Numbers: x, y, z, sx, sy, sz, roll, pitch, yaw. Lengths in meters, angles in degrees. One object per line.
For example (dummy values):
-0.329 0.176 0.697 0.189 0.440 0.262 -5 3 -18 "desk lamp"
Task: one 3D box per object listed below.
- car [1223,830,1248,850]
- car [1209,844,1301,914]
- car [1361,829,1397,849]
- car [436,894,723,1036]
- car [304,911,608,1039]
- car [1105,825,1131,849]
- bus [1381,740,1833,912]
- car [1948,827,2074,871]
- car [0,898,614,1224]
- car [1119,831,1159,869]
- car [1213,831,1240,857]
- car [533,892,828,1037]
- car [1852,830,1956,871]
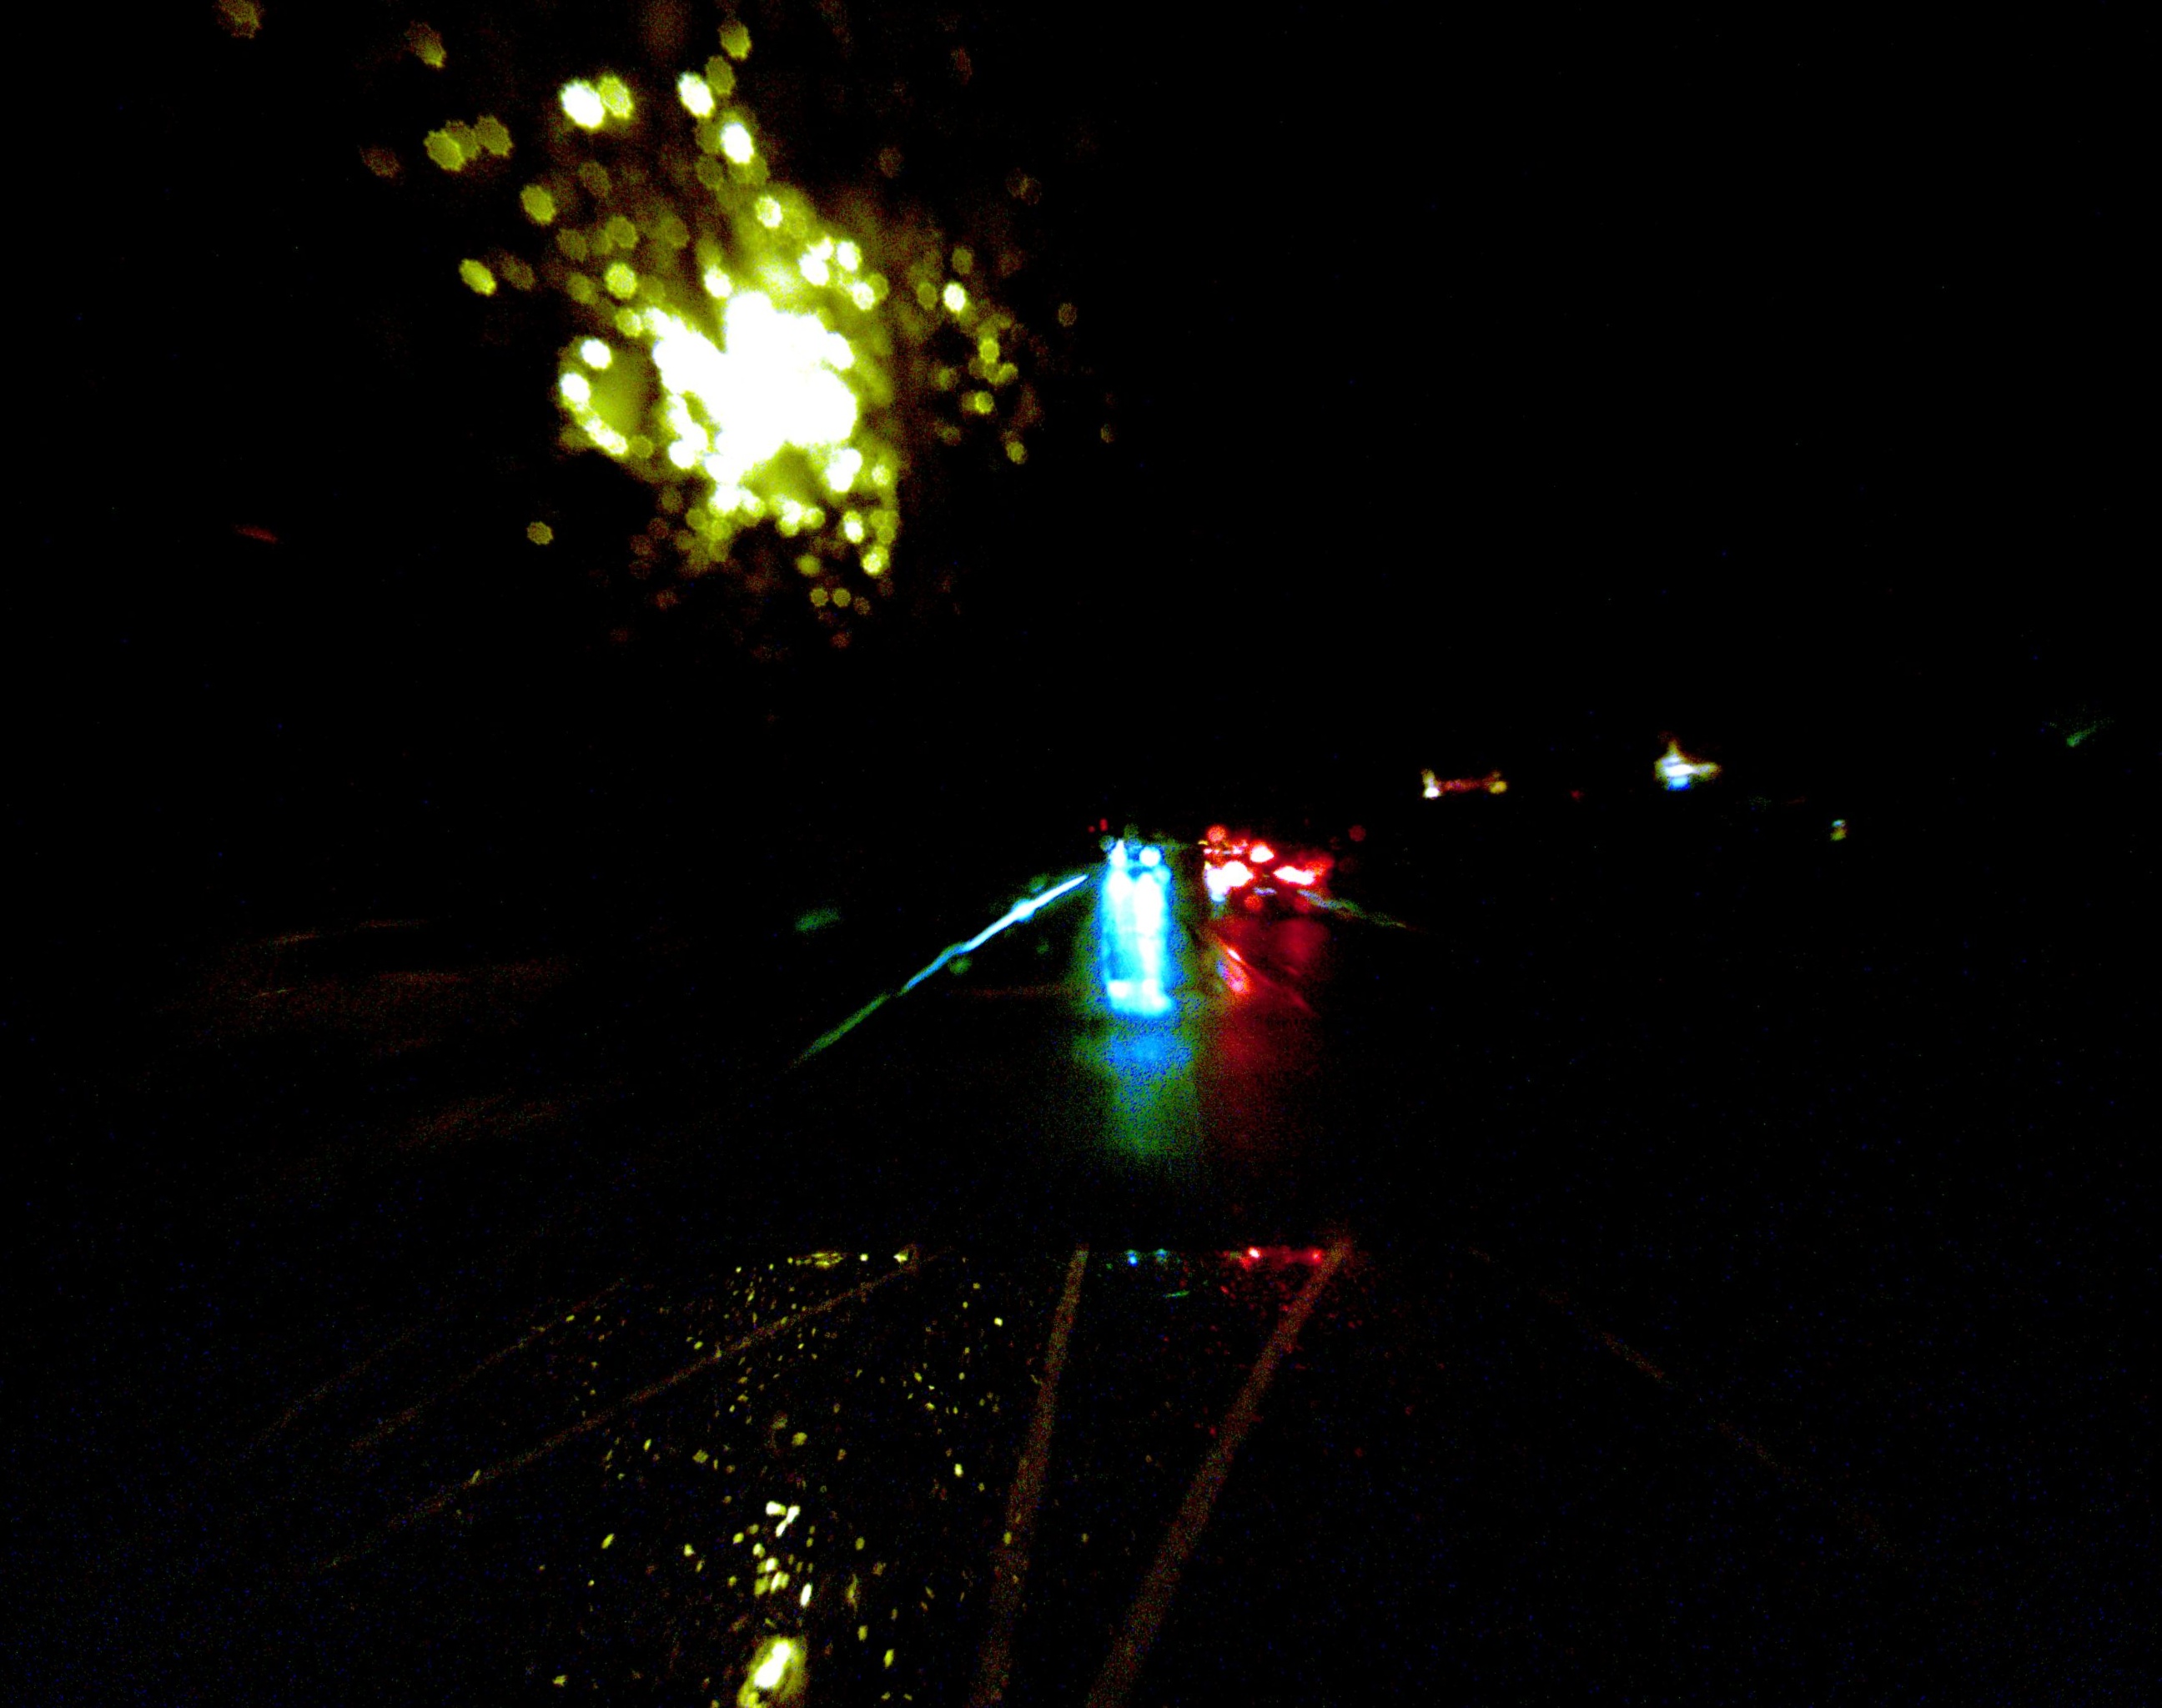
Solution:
12.428 -1.147 61.110 1.715 1.468 3.871 -3 2 14 "car"
4.259 0.530 19.173 1.639 1.502 4.117 0 2 4 "car"
22.120 -1.143 56.319 1.689 1.390 4.157 2 4 33 "car"
-7.424 1.541 11.702 1.638 1.610 3.538 0 0 12 "car"
-10.131 1.859 12.714 1.638 1.502 3.679 0 0 12 "car"
3.078 -1.422 62.831 1.959 1.682 4.773 -3 3 4 "car"
14.754 -0.803 23.864 2.903 3.847 13.040 -3 2 -13 "bus"
36.655 -0.255 30.101 1.855 1.391 4.045 2 6 31 "car"
-6.029 1.260 6.138 1.677 1.557 3.804 -2 0 10 "car"
3.161 -0.247 40.774 1.958 1.713 3.999 -2 4 7 "car"
9.733 -0.697 50.877 1.698 1.590 3.802 -2 2 11 "car"
-5.214 1.359 10.510 1.638 1.390 3.678 -2 1 10 "car"
34.297 -0.215 31.808 1.855 1.391 4.045 2 6 31 "car"
